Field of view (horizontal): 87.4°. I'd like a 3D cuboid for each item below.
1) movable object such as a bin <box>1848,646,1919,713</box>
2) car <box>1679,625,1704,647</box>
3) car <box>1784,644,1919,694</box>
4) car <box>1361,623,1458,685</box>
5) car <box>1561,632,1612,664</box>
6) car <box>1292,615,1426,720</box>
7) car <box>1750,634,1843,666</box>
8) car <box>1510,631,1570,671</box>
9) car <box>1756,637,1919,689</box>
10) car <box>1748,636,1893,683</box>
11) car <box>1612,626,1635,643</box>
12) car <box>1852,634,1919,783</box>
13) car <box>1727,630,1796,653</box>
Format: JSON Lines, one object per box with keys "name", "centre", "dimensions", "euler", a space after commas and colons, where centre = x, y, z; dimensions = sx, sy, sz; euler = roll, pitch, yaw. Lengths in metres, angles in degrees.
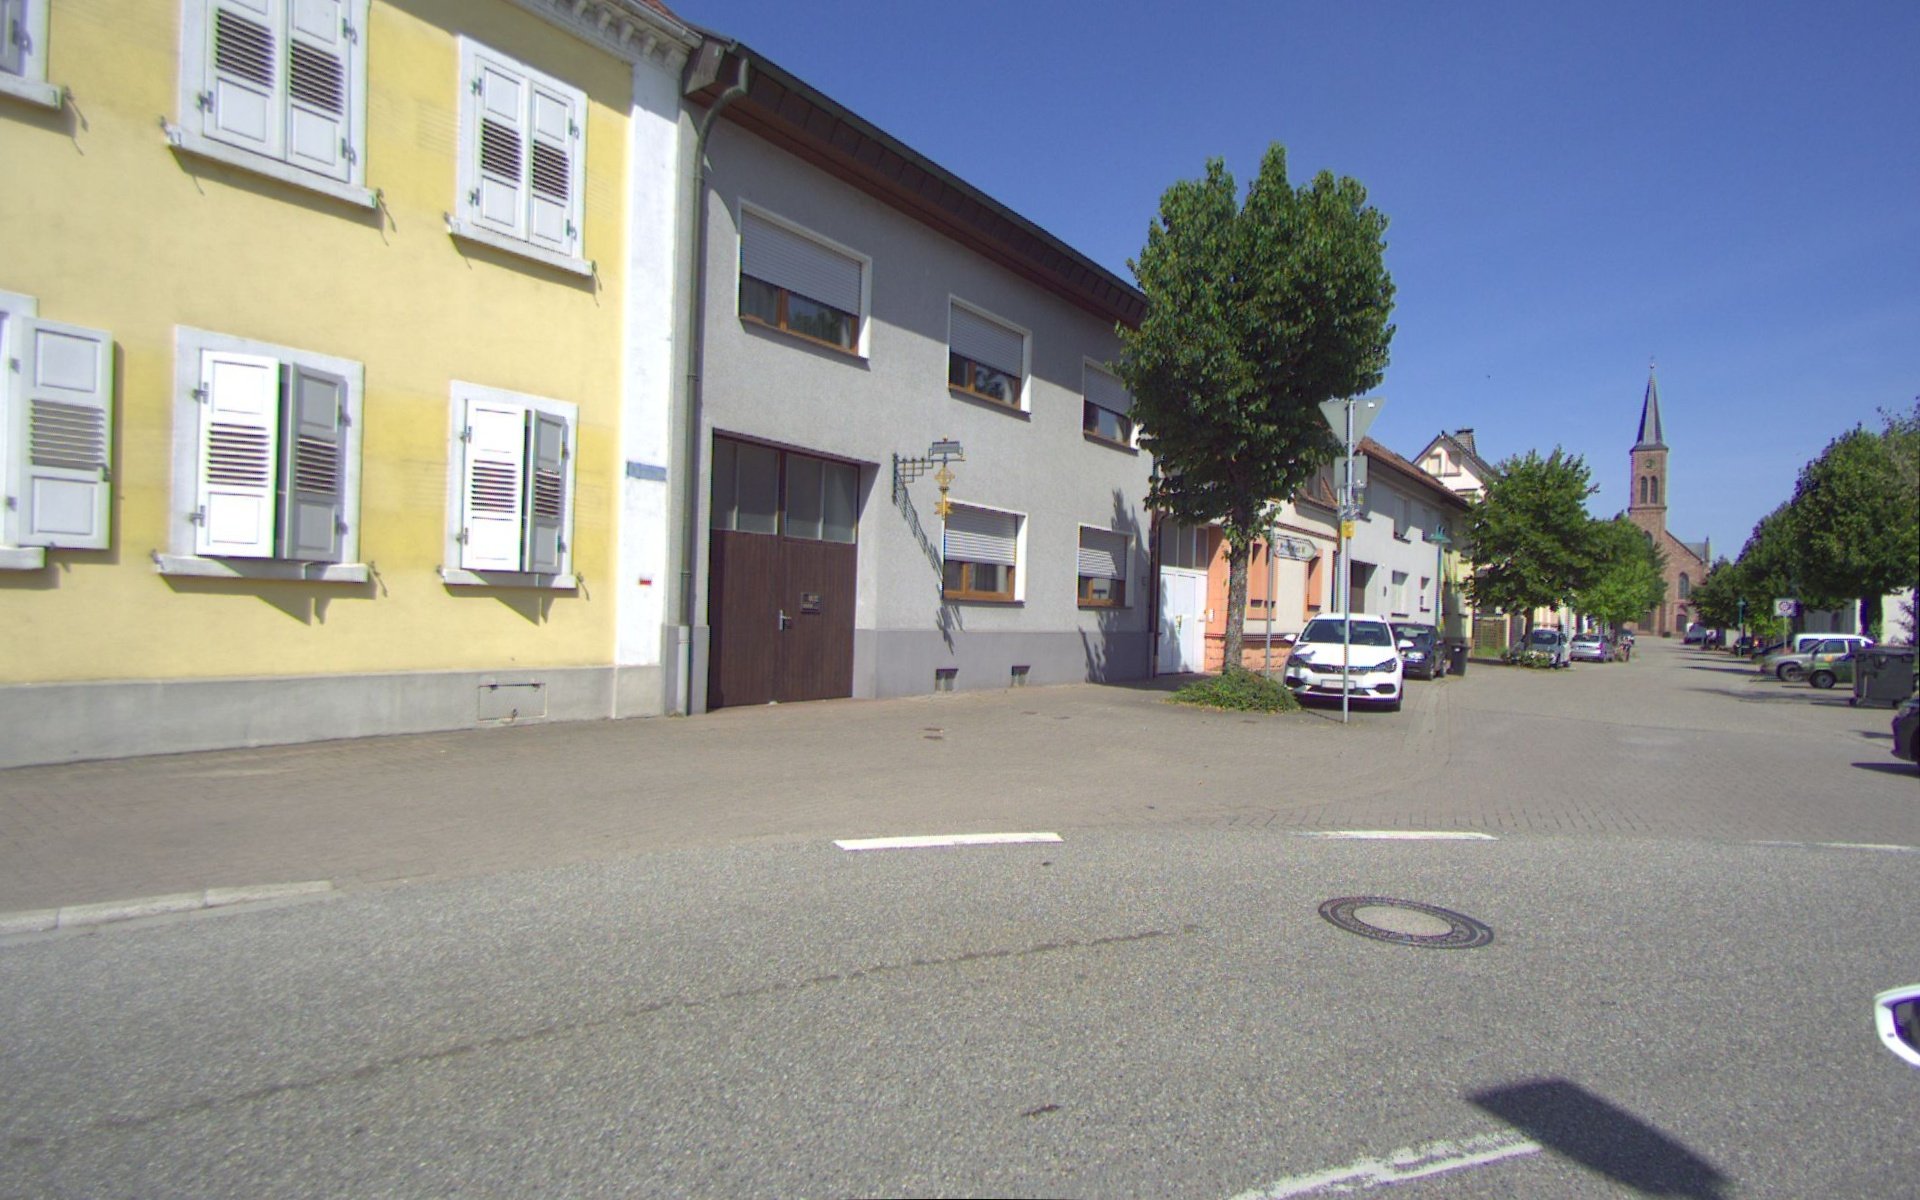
{"name": "movable object such as a bin", "centre": [20.004, 1.697, 21.718], "dimensions": [1.174, 1.356, 0.785], "euler": [0, -1, 40]}
{"name": "car", "centre": [86.827, 4.292, 119.268], "dimensions": [2.215, 2.308, 4.488], "euler": [3, -1, 36]}
{"name": "car", "centre": [28.481, 2.134, 31.531], "dimensions": [3.873, 1.362, 1.993], "euler": [1, -1, 36]}
{"name": "car", "centre": [12.444, 1.407, 27.607], "dimensions": [1.955, 1.459, 5.202], "euler": [1, -1, 29]}
{"name": "car", "centre": [32.367, 2.431, 51.990], "dimensions": [1.964, 1.483, 3.993], "euler": [2, -1, 29]}
{"name": "car", "centre": [6.798, 1.030, 16.895], "dimensions": [1.820, 1.459, 4.510], "euler": [1, -1, 24]}
{"name": "car", "centre": [47.569, 2.805, 57.229], "dimensions": [3.935, 1.661, 1.993], "euler": [1, -1, 36]}
{"name": "car", "centre": [25.169, 2.185, 43.526], "dimensions": [1.967, 1.595, 3.988], "euler": [1, -1, 34]}
{"name": "car", "centre": [32.207, 2.244, 36.736], "dimensions": [4.741, 1.645, 1.993], "euler": [1, -1, 36]}
{"name": "car", "centre": [33.342, 2.261, 39.099], "dimensions": [4.096, 1.589, 1.993], "euler": [1, -1, 36]}
{"name": "car", "centre": [72.603, 3.775, 109.934], "dimensions": [1.965, 1.840, 3.990], "euler": [1, -1, 32]}
{"name": "car", "centre": [10.481, 1.098, 8.382], "dimensions": [1.714, 1.394, 4.251], "euler": [2, 0, -18]}
{"name": "car", "centre": [61.065, 3.163, 76.610], "dimensions": [3.933, 1.639, 1.994], "euler": [1, -1, 35]}
